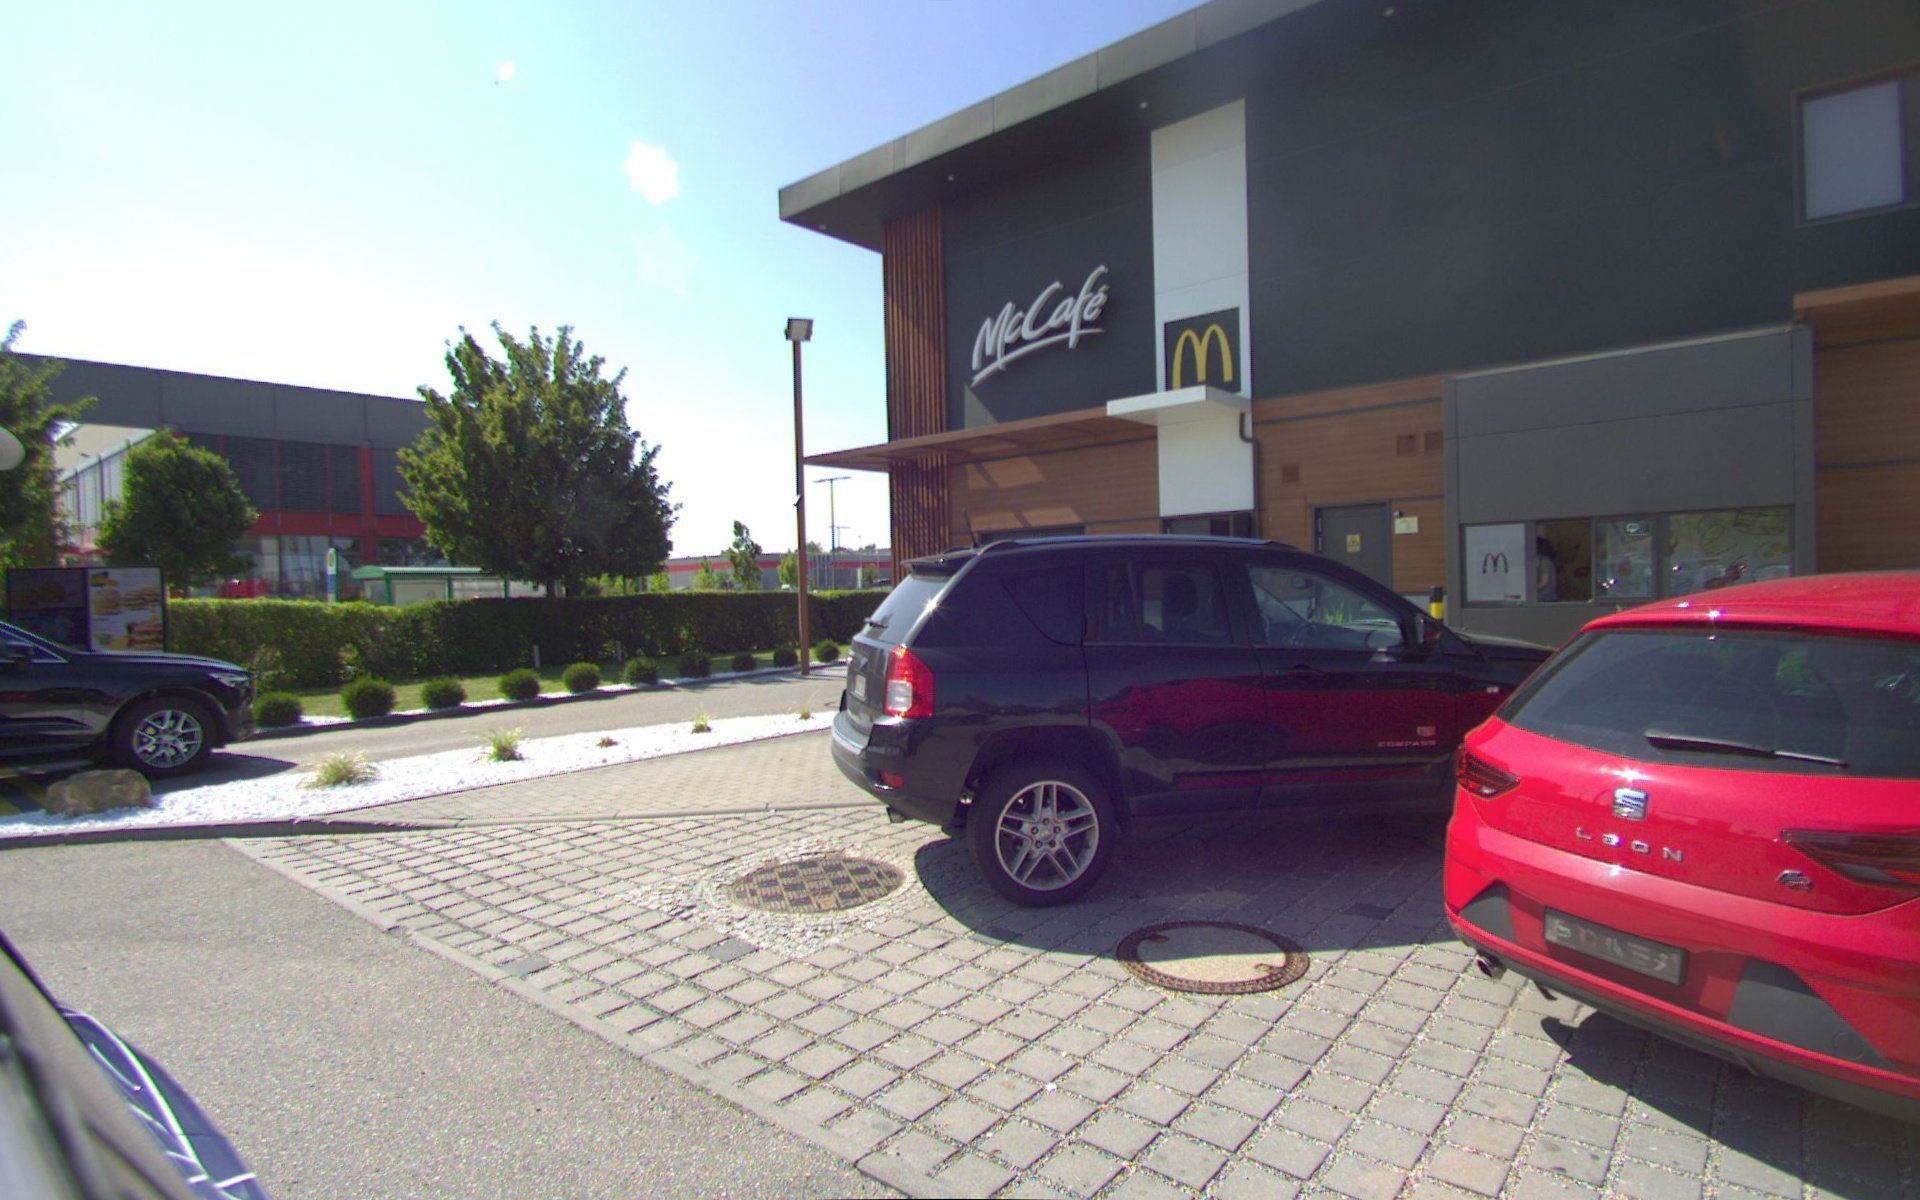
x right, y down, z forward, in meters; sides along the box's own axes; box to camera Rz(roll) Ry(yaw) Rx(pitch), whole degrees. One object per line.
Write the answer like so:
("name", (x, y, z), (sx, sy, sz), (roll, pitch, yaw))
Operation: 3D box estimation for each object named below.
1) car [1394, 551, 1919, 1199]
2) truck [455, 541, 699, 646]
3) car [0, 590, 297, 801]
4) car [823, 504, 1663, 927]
("car", (3.473, 0.571, 3.204), (3.707, 1.455, 1.680), (-2, 0, -22))
("truck", (-15.574, -0.254, 41.888), (3.207, 3.896, 9.010), (-2, 0, 40))
("car", (-8.560, 0.778, 8.180), (1.922, 1.642, 5.000), (-2, 0, 38))
("car", (1.357, 0.441, 5.451), (3.973, 1.718, 1.679), (-2, 0, -12))
